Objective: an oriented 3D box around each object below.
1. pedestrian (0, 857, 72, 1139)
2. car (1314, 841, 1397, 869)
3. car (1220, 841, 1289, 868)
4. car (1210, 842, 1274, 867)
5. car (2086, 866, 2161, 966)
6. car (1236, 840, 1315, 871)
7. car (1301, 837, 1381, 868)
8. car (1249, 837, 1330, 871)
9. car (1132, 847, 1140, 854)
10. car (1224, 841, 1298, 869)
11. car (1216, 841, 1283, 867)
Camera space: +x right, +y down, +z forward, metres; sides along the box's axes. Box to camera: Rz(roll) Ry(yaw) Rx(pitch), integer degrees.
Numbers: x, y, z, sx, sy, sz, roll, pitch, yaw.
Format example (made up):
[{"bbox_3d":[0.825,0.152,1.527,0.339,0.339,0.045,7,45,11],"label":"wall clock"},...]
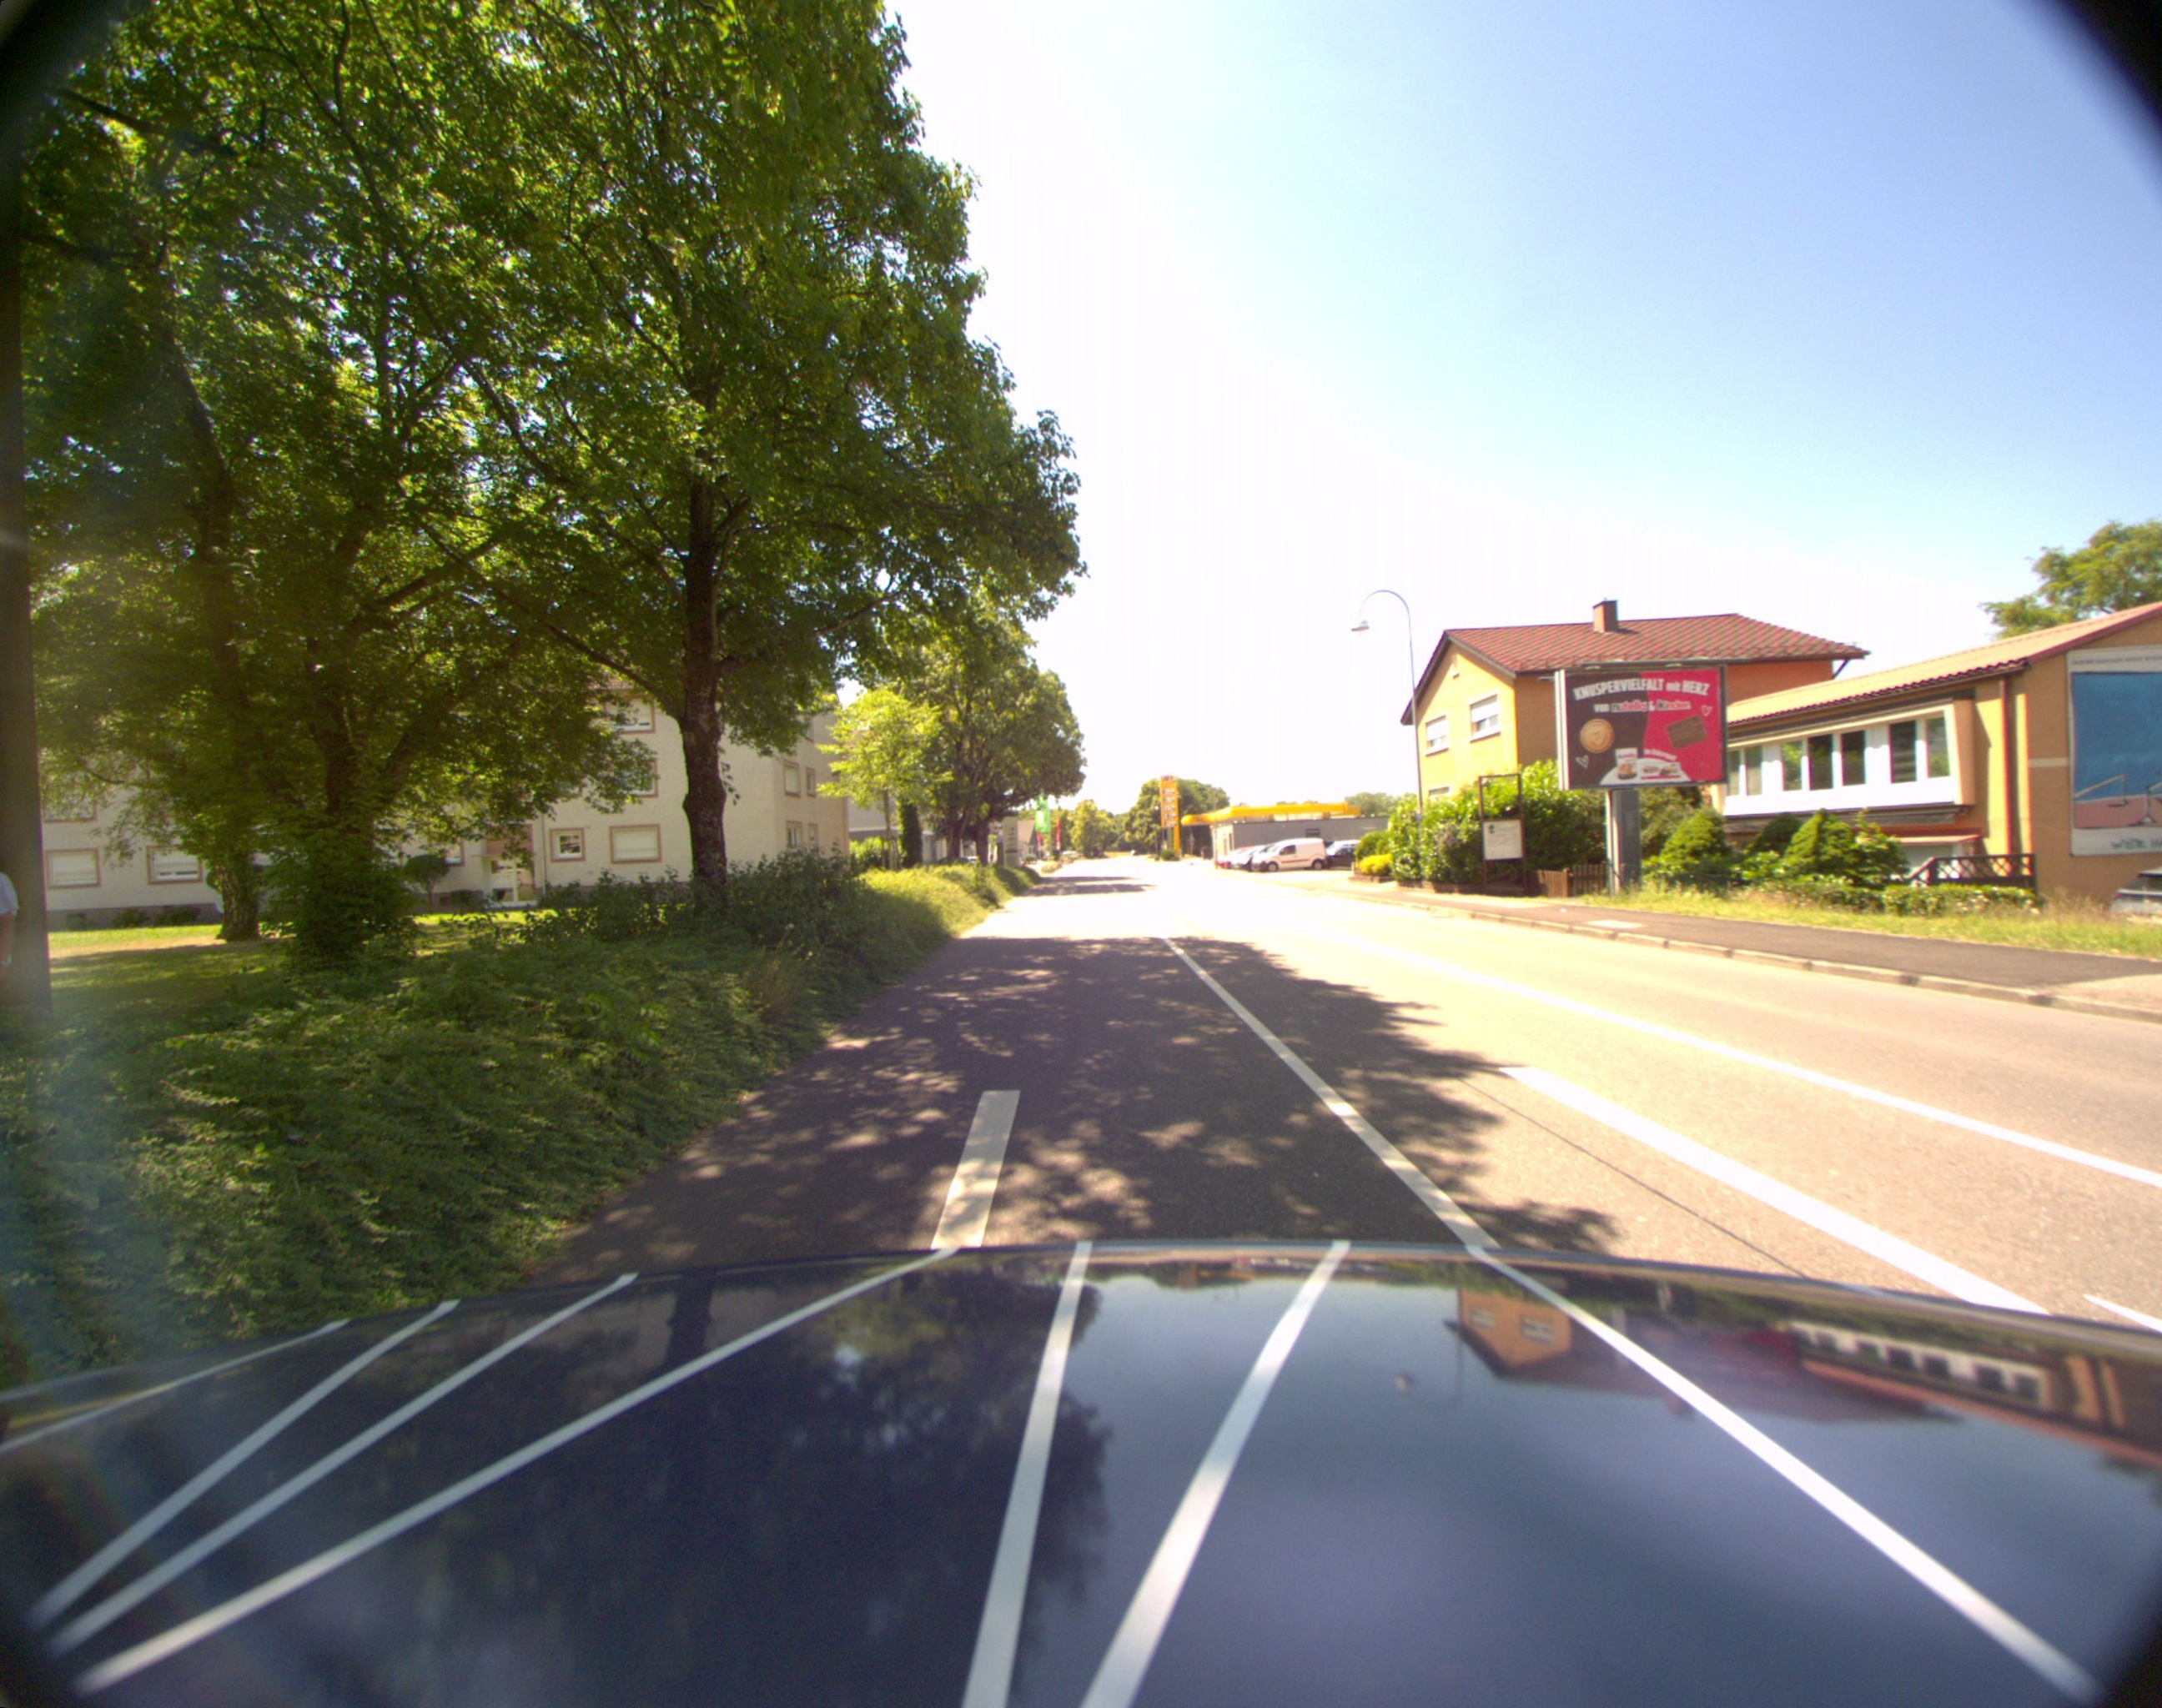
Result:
[{"bbox_3d":[-7.506,0.959,4.961,0.675,1.862,0.901,-2,1,-21],"label":"pedestrian"},{"bbox_3d":[16.748,0.028,46.448,4.402,1.554,1.874,-2,1,-5],"label":"car"},{"bbox_3d":[12.166,0.031,53.424,4.402,1.750,1.874,-2,1,-5],"label":"car"},{"bbox_3d":[12.270,0.036,58.106,4.402,1.750,1.874,-2,1,-5],"label":"car"},{"bbox_3d":[19.856,0.989,12.370,4.224,1.599,1.772,-1,1,7],"label":"car"},{"bbox_3d":[11.879,0.088,46.523,4.246,1.750,1.874,-2,1,-5],"label":"car"},{"bbox_3d":[16.629,-0.116,48.718,4.402,1.815,1.874,-2,1,-5],"label":"car"},{"bbox_3d":[12.151,0.004,44.434,4.191,1.858,1.874,-2,1,-5],"label":"car"},{"bbox_3d":[13.212,-0.951,182.920,1.809,1.552,4.064,-2,1,5],"label":"car"},{"bbox_3d":[12.053,0.062,51.061,4.402,1.750,1.874,-2,1,-5],"label":"car"},{"bbox_3d":[12.246,-0.022,55.456,4.402,1.750,1.874,-2,1,-5],"label":"car"}]
